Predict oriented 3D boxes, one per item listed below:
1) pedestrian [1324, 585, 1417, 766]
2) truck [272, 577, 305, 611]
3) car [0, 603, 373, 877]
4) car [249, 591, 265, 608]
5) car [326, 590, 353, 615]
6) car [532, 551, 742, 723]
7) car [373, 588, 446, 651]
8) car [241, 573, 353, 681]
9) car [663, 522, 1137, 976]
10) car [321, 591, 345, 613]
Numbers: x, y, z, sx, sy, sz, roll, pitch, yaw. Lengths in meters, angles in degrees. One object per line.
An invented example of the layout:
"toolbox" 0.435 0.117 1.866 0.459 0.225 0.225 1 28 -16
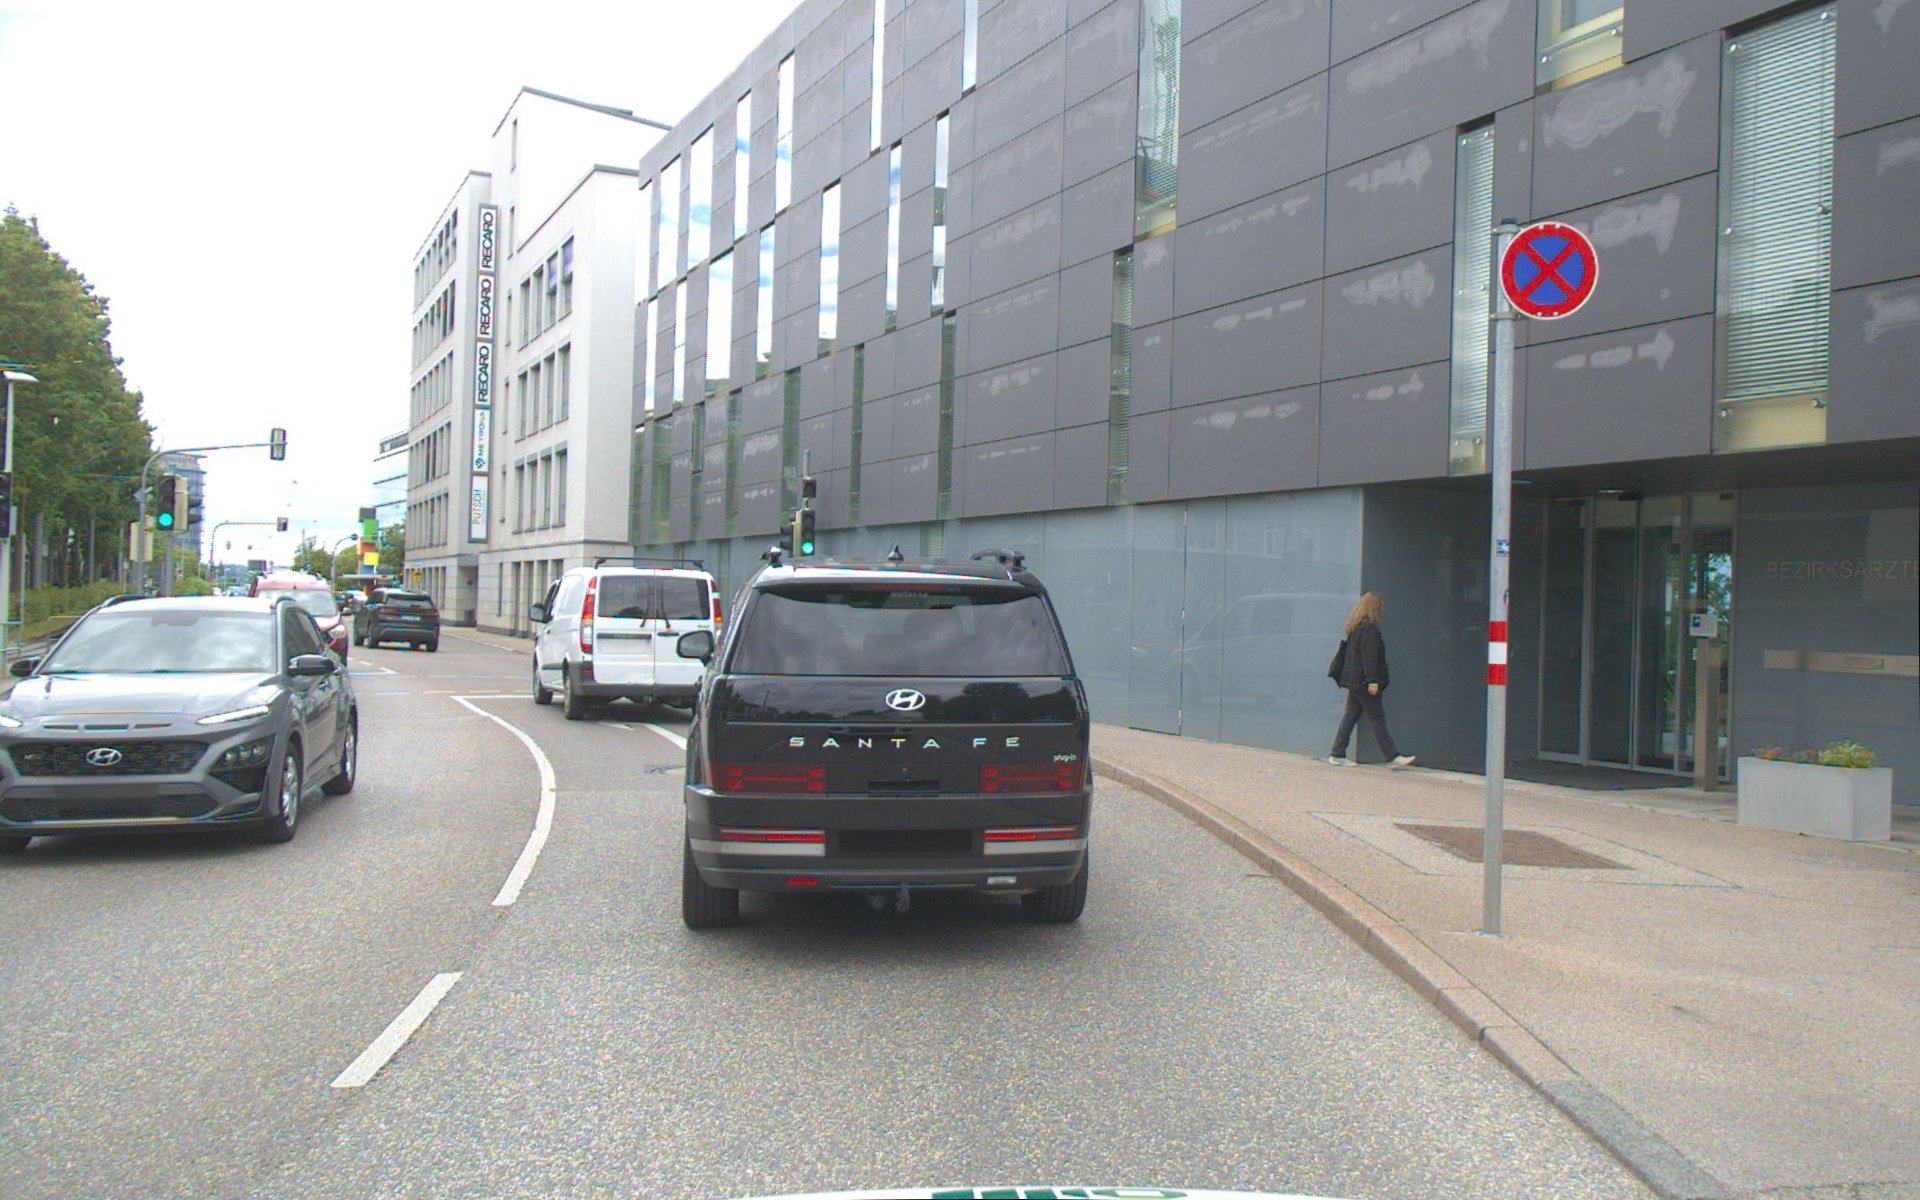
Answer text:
"pedestrian" 4.078 0.733 16.430 0.844 1.724 0.714 1 0 14
"truck" -54.325 -0.484 133.769 2.138 2.661 5.749 1 0 -25
"car" -5.187 0.784 11.304 1.737 1.504 3.987 0 0 -13
"car" -79.282 -0.059 186.465 1.644 1.915 3.971 2 0 -23
"car" -43.605 0.155 116.181 1.734 1.637 4.161 2 0 -21
"car" -4.380 0.448 21.879 1.904 2.029 4.505 2 0 -22
"car" -15.424 0.514 46.216 1.734 1.637 4.162 2 0 -21
"car" -12.320 0.460 30.602 1.660 1.840 4.316 0 0 -26
"car" -0.434 0.598 8.768 1.872 1.780 4.391 1 0 -6
"car" -50.324 0.151 132.734 1.734 1.637 4.161 2 0 -21
